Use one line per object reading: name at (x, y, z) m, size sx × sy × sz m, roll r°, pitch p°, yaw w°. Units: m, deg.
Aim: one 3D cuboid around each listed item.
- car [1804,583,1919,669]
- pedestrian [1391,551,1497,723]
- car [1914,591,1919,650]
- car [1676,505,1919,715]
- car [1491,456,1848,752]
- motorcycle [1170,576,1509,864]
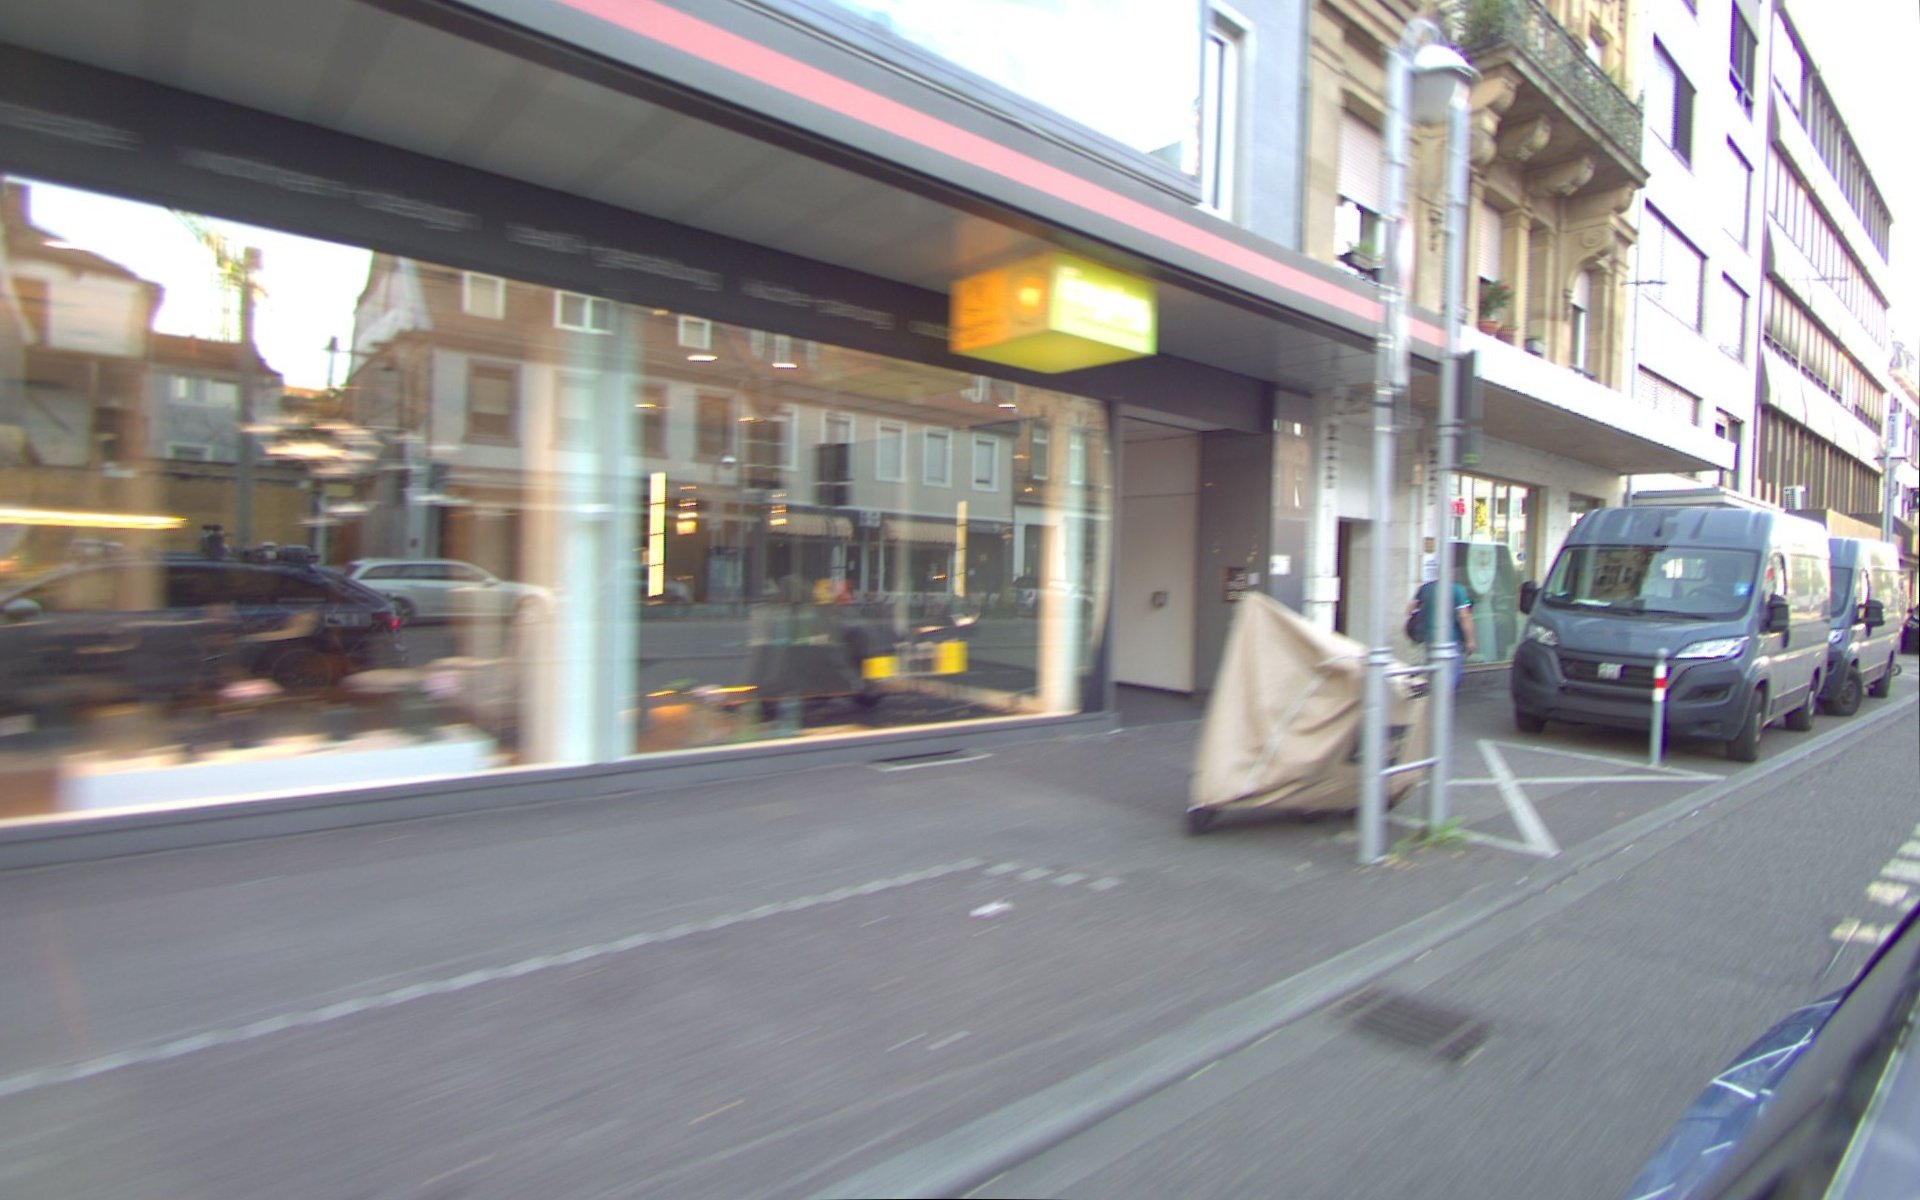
car at (19.644, 0.504, 21.802) m, size 3.778 × 1.672 × 1.638 m, roll 0°, pitch 2°, yaw -41°
pedestrian at (5.321, 0.369, 11.126) m, size 0.776 × 1.777 × 0.742 m, roll 0°, pitch 4°, yaw -44°
car at (29.354, 0.573, 29.471) m, size 3.810 × 1.693 × 1.996 m, roll -1°, pitch 0°, yaw -42°
car at (12.701, 0.093, 15.134) m, size 5.507 × 2.606 × 1.997 m, roll -1°, pitch 0°, yaw -41°
car at (7.980, 0.014, 11.108) m, size 5.509 × 2.479 × 2.077 m, roll 0°, pitch 0°, yaw -42°
motorcycle at (2.431, 0.604, 6.242) m, size 2.591 × 1.421 × 0.784 m, roll 0°, pitch 3°, yaw -42°
